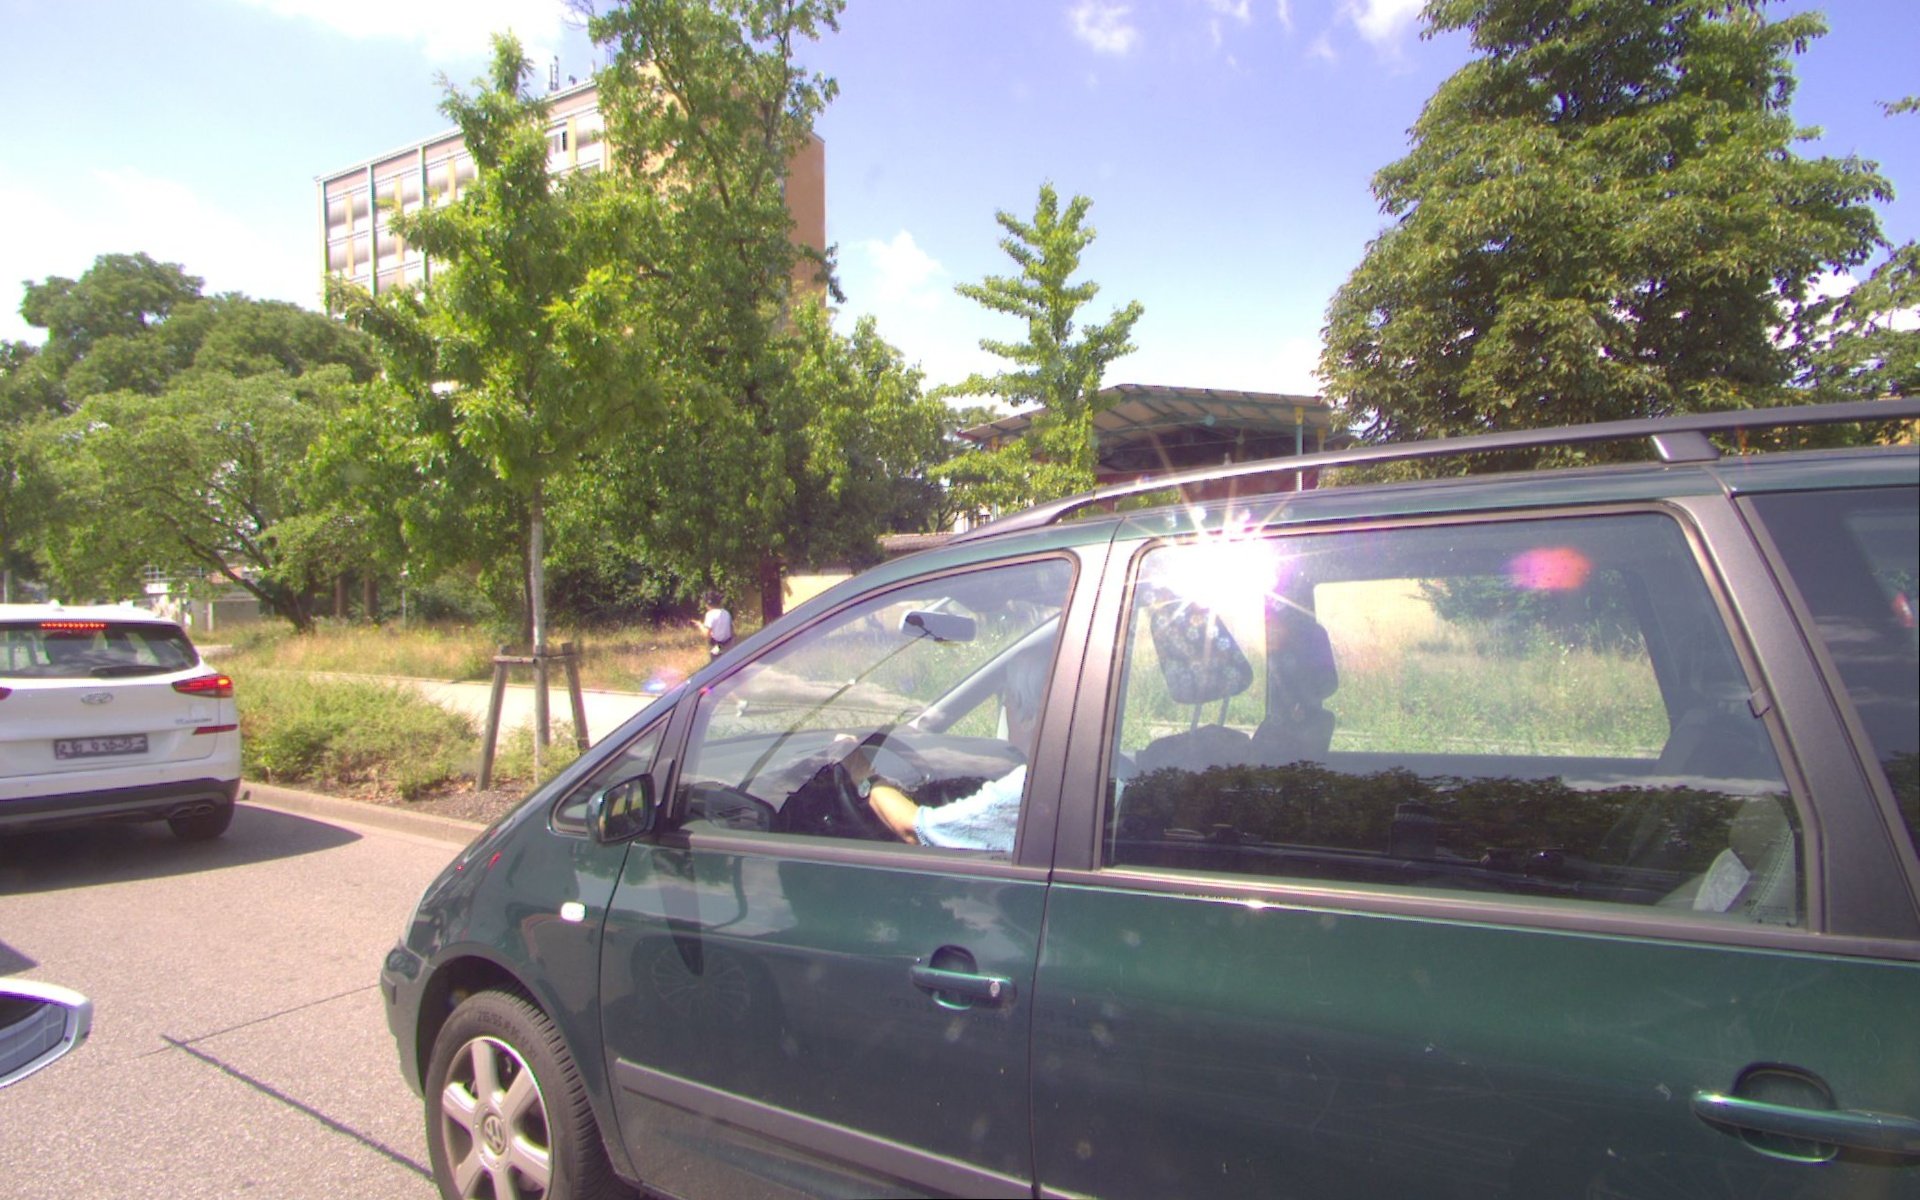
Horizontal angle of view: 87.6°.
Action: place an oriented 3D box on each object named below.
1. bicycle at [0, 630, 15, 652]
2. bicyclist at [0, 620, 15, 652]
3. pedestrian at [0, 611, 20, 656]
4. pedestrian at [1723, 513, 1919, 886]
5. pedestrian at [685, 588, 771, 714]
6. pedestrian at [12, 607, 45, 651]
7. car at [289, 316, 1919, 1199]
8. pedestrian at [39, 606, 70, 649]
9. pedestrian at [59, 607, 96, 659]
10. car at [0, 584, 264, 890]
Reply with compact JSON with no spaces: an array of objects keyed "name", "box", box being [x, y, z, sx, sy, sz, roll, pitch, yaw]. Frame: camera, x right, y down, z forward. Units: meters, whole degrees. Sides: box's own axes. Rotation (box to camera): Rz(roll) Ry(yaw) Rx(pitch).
[{"name":"bicycle","box":[-69.045,2.966,72.090,1.415,1.483,4.270,0,0,-42]},{"name":"bicyclist","box":[-69.074,2.588,72.130,1.422,2.200,1.326,-1,1,-43]},{"name":"pedestrian","box":[-40.059,1.388,41.967,0.804,1.874,0.758,0,1,29]},{"name":"pedestrian","box":[4.431,0.459,5.082,0.807,1.706,0.754,0,1,44]},{"name":"pedestrian","box":[-3.036,0.642,13.121,0.805,1.578,0.757,0,1,34]},{"name":"pedestrian","box":[-39.938,1.237,42.955,0.802,1.874,0.759,0,1,22]},{"name":"car","box":[0.542,0.629,2.272,4.329,1.737,1.799,0,-2,32]},{"name":"pedestrian","box":[-39.613,1.205,43.809,0.803,1.874,0.759,0,1,24]},{"name":"pedestrian","box":[-29.260,1.080,33.202,0.805,1.677,0.756,0,1,36]},{"name":"car","box":[-6.744,0.774,6.994,3.919,1.701,1.810,0,0,34]}]
